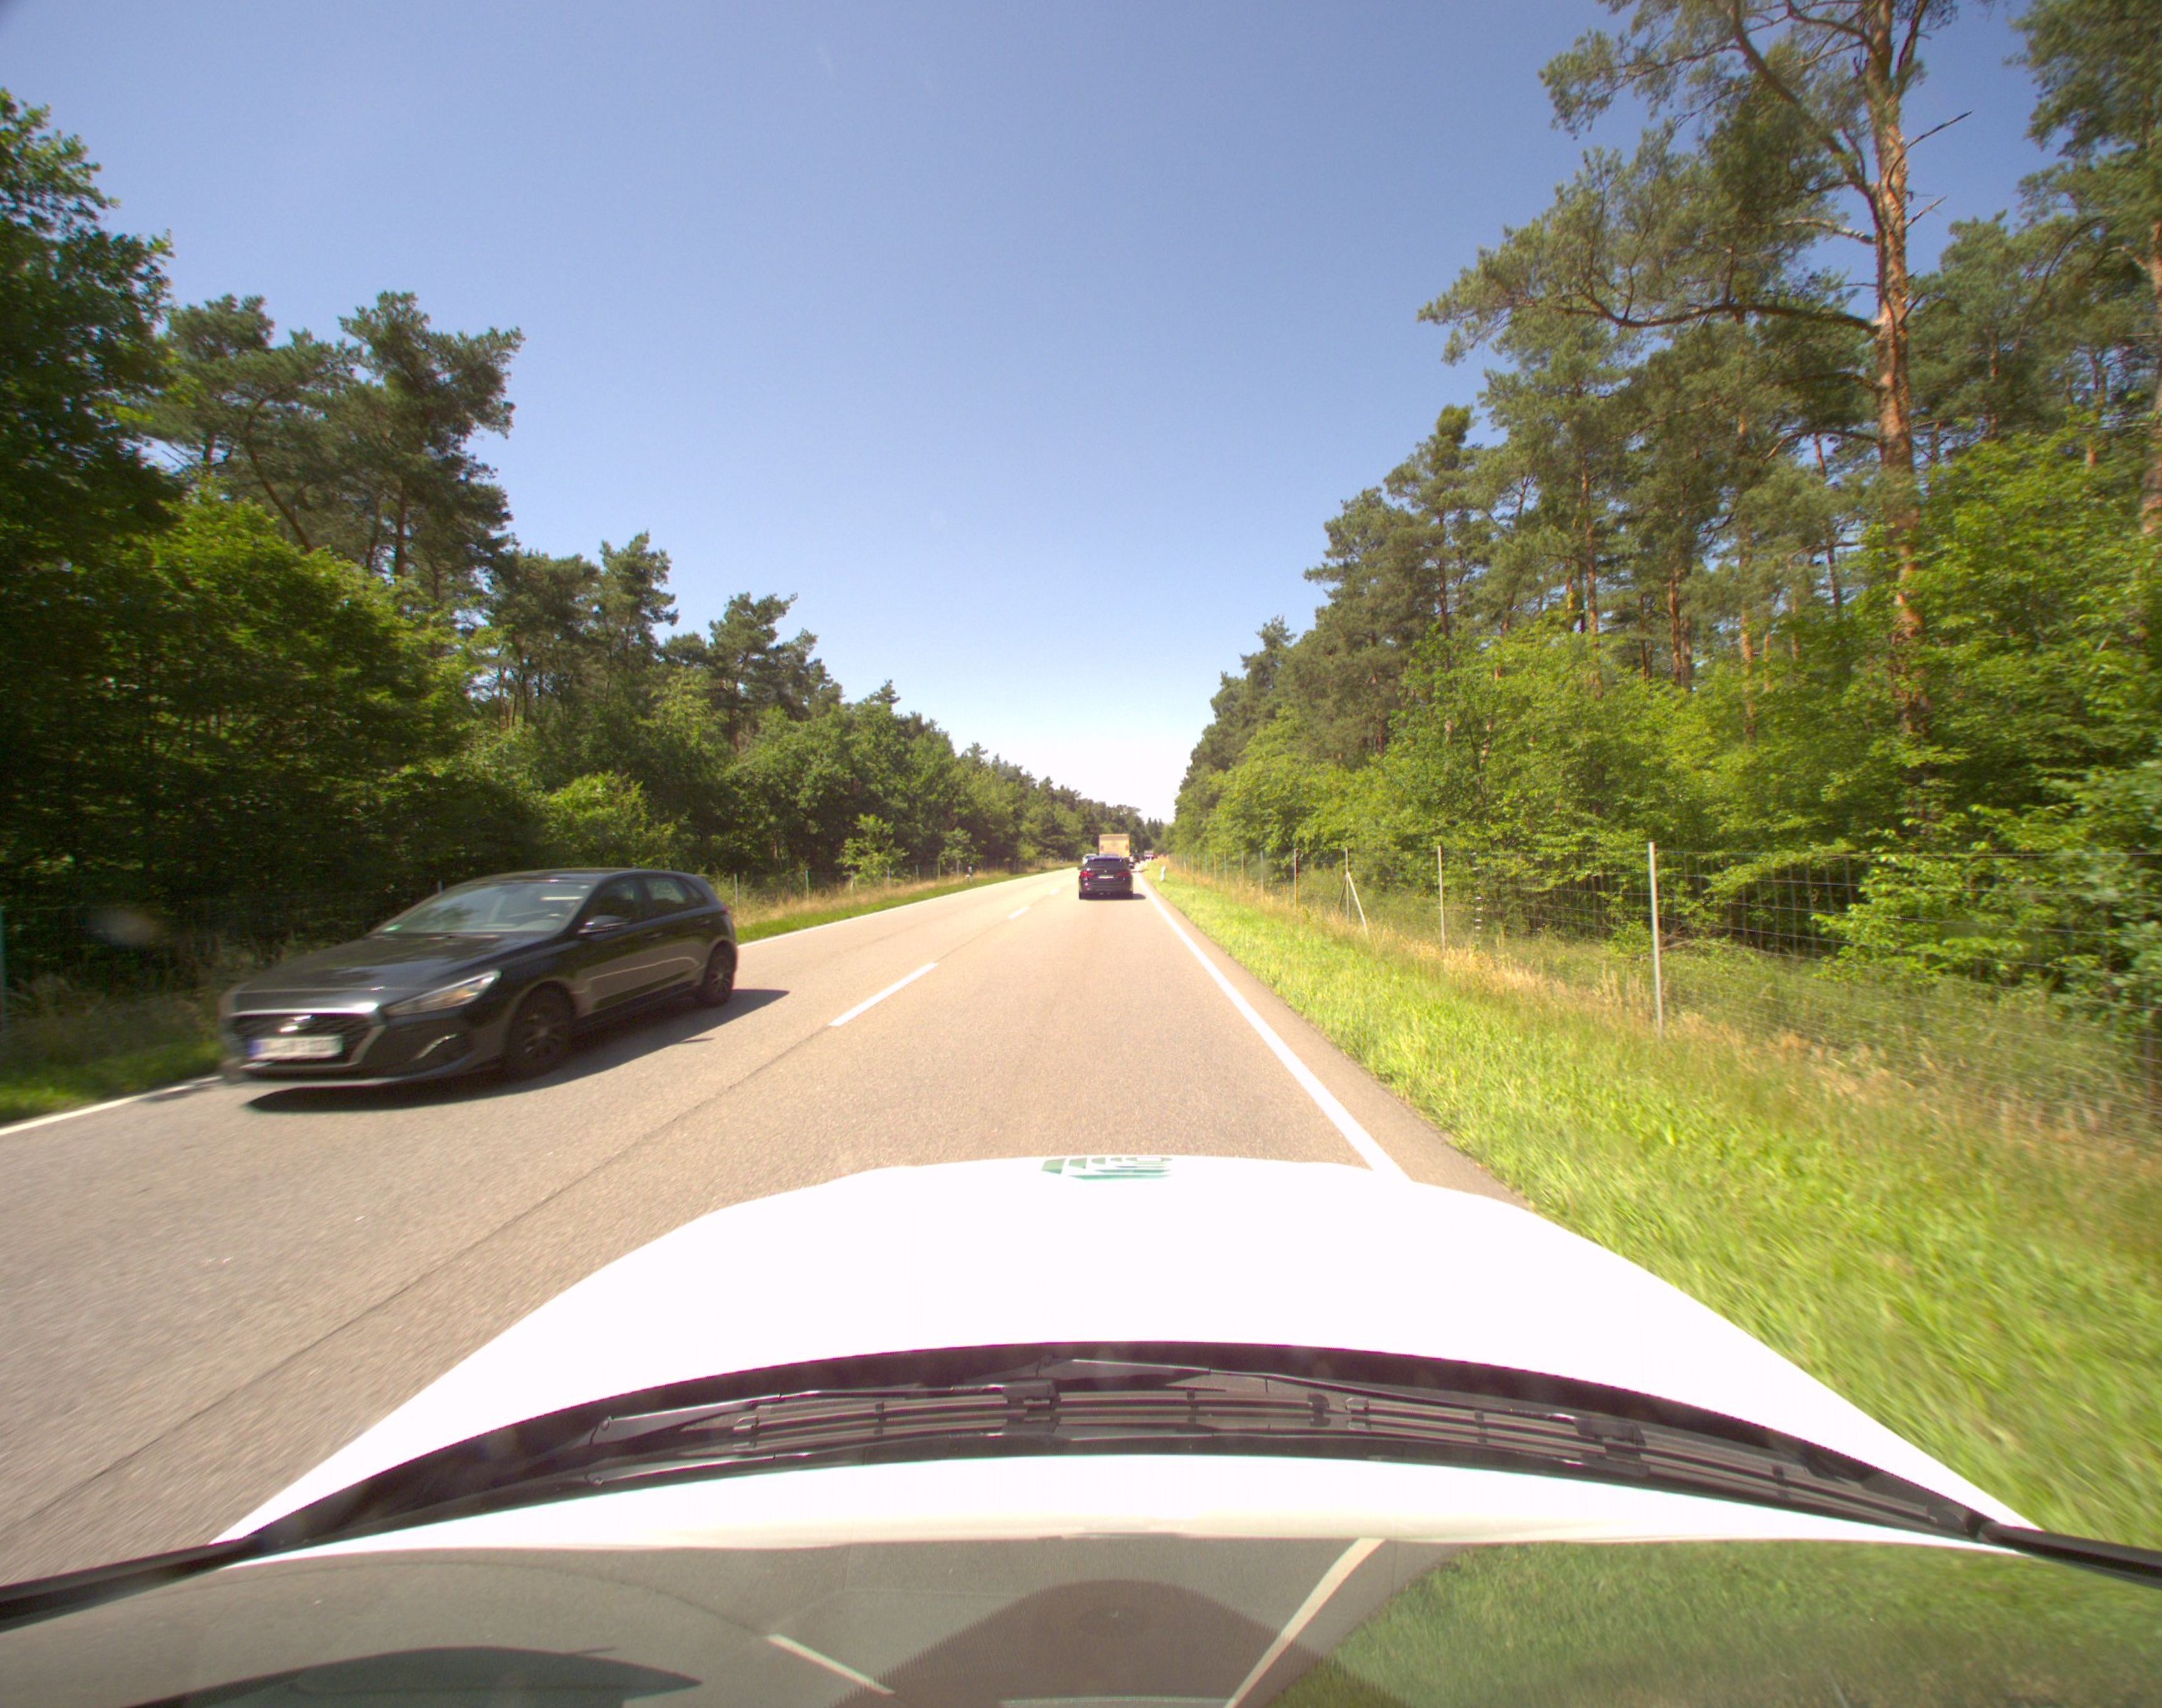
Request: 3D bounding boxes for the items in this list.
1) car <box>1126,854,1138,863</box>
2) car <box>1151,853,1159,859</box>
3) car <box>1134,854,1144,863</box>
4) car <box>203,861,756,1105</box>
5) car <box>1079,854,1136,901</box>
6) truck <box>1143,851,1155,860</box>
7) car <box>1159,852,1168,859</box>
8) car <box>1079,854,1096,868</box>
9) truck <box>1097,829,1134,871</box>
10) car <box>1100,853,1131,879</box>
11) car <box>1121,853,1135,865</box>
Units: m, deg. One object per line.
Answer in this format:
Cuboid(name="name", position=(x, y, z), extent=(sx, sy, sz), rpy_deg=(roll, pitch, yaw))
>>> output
Cuboid(name="car", position=(8.390, 0.794, 134.198), extent=(1.985, 1.420, 4.004), rpy_deg=(-2, 0, 4))
Cuboid(name="car", position=(20.547, 0.558, 226.191), extent=(1.783, 1.354, 3.940), rpy_deg=(-2, 0, 10))
Cuboid(name="car", position=(11.999, 0.929, 168.182), extent=(1.984, 1.636, 4.005), rpy_deg=(-2, 0, 5))
Cuboid(name="car", position=(-4.595, 0.830, 7.148), extent=(1.722, 1.455, 4.064), rpy_deg=(-1, 0, 2))
Cuboid(name="car", position=(0.930, 0.761, 28.635), extent=(1.814, 1.470, 4.002), rpy_deg=(-2, 0, 2))
Cuboid(name="truck", position=(16.242, 0.319, 195.296), extent=(2.549, 2.202, 4.985), rpy_deg=(-2, 0, 8))
Cuboid(name="car", position=(26.024, 0.471, 258.098), extent=(2.332, 1.885, 4.647), rpy_deg=(-2, 0, 12))
Cuboid(name="car", position=(0.700, 0.810, 96.096), extent=(1.857, 1.629, 4.091), rpy_deg=(-1, 0, -1))
Cuboid(name="truck", position=(2.981, -0.321, 70.827), extent=(2.954, 3.387, 6.441), rpy_deg=(-2, 0, 2))
Cuboid(name="car", position=(2.326, 0.766, 53.874), extent=(1.939, 1.542, 4.004), rpy_deg=(-2, 0, 4))
Cuboid(name="car", position=(6.434, 0.669, 111.012), extent=(1.855, 1.605, 4.004), rpy_deg=(-2, 0, 4))
